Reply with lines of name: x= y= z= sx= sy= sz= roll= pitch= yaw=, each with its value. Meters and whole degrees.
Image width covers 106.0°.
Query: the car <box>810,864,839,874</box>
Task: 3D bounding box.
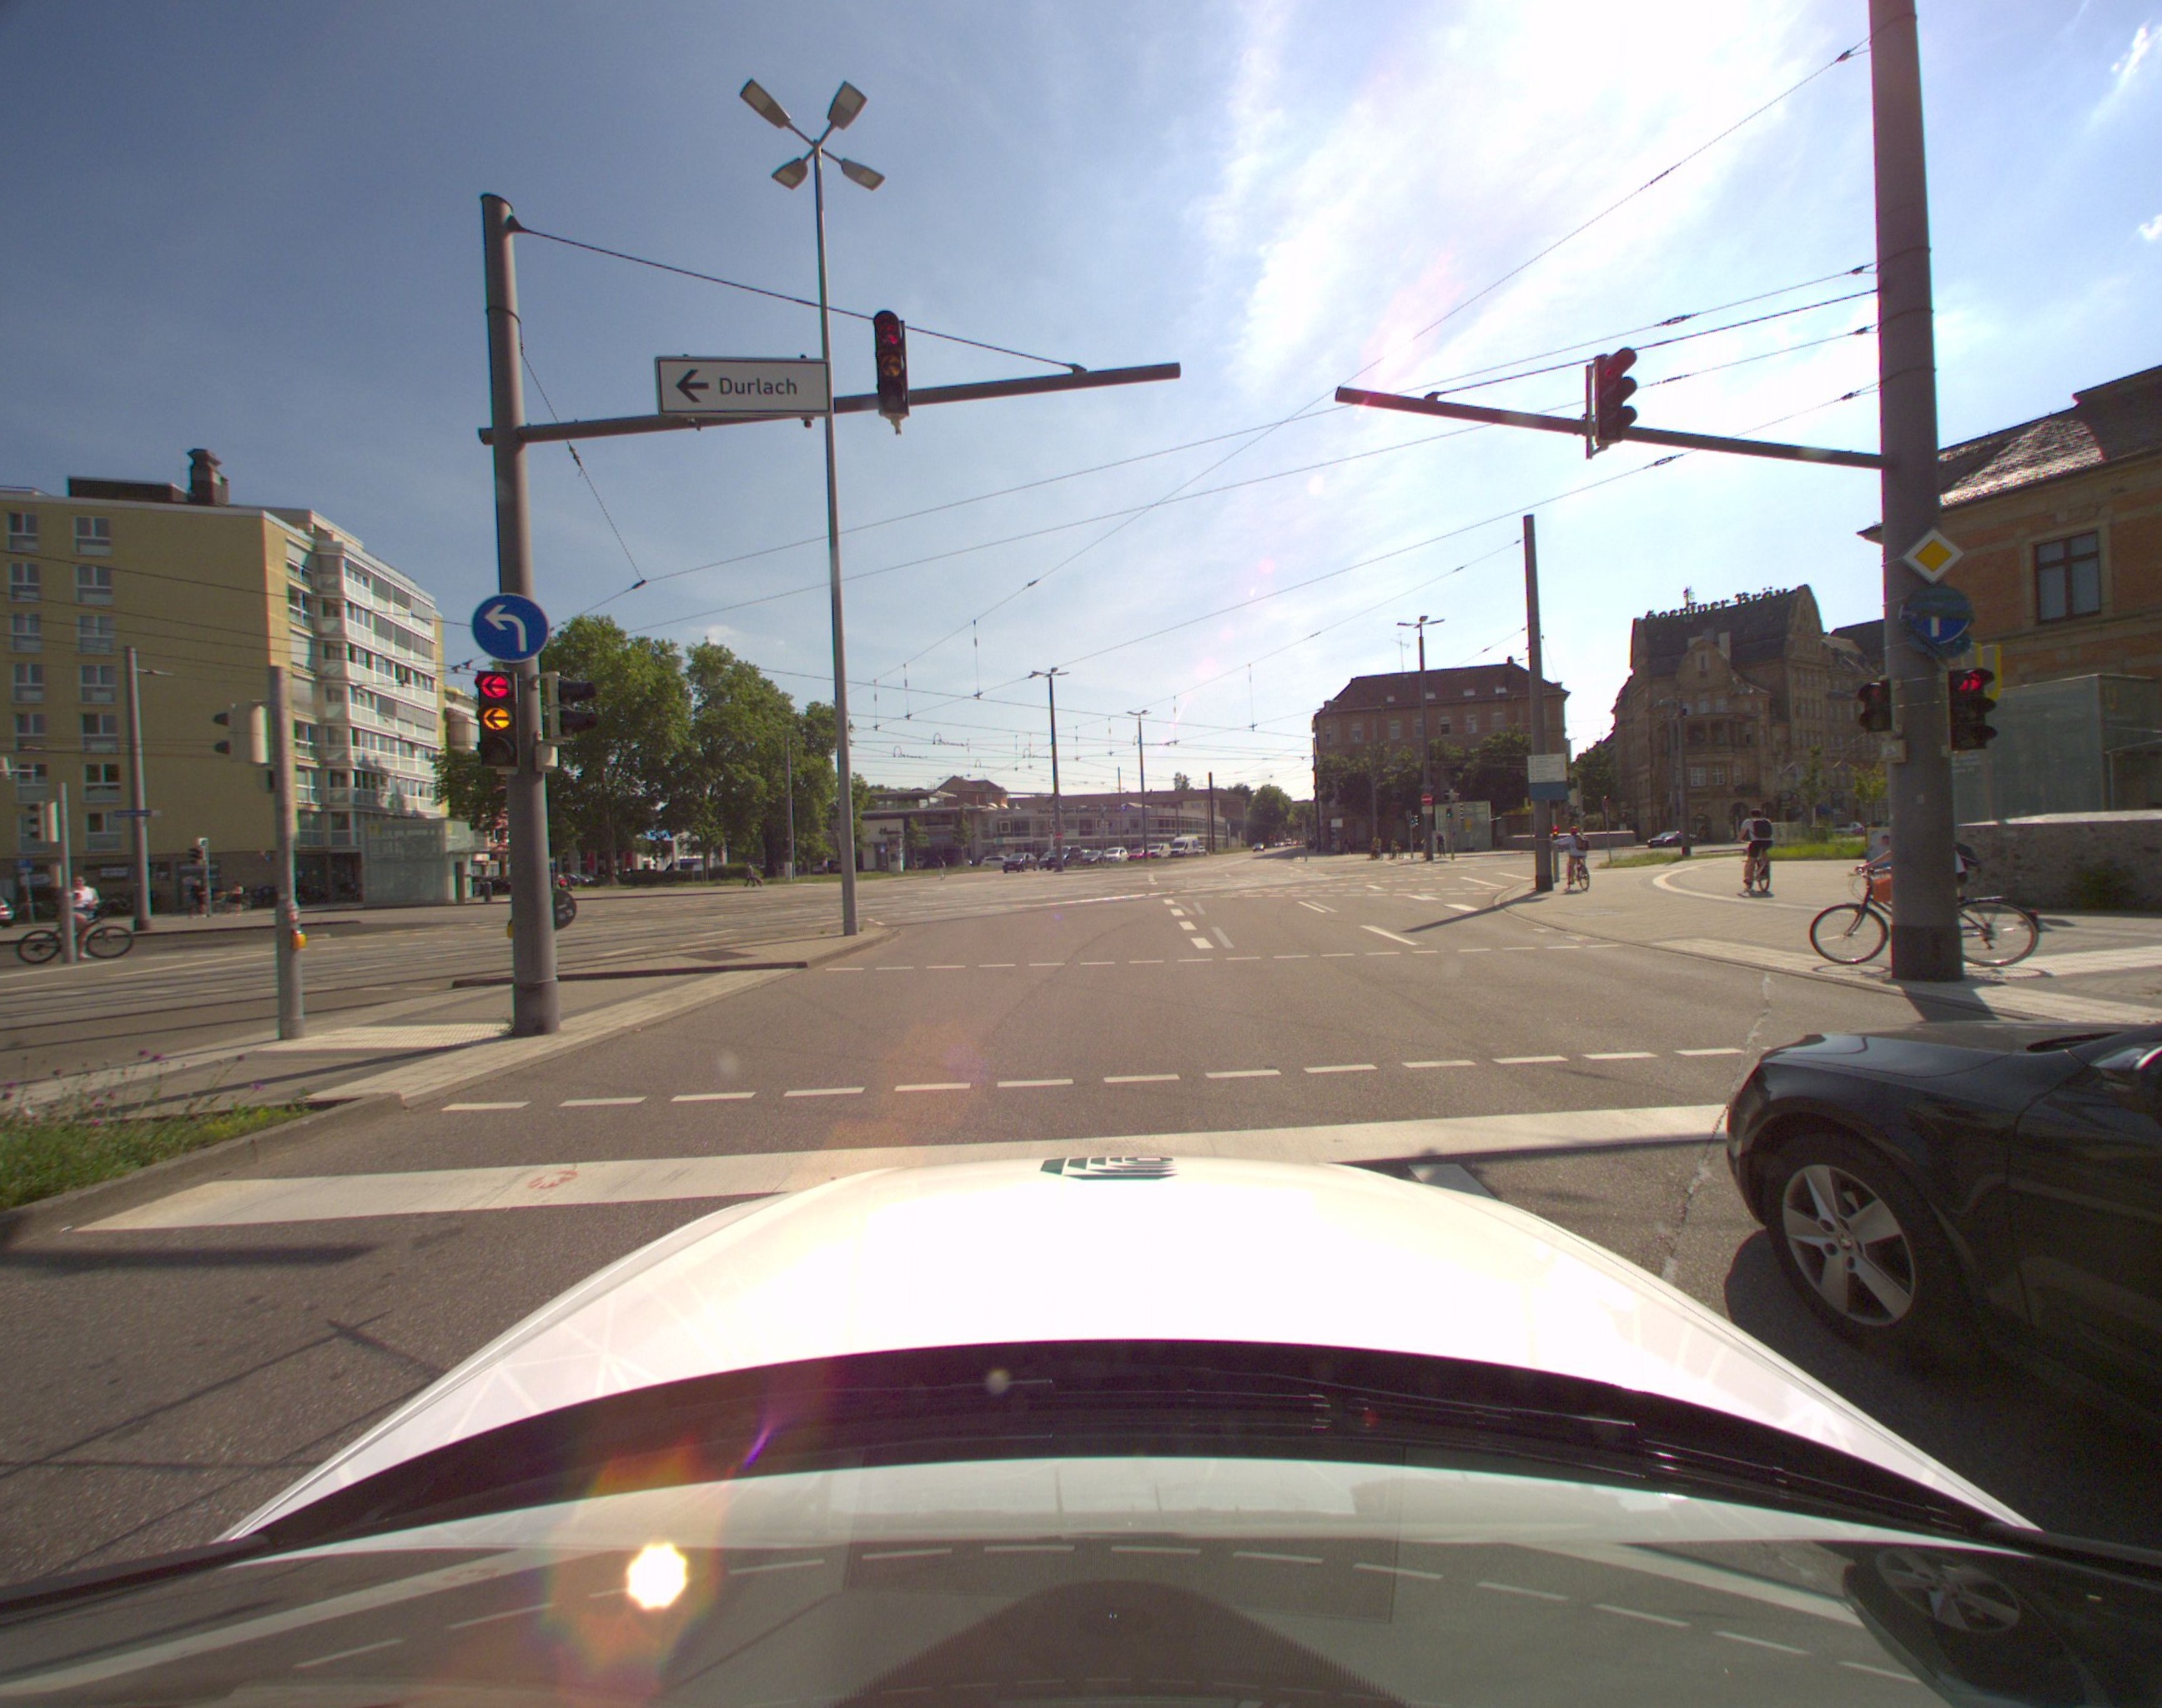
car: x=-31.984 y=1.856 z=101.788 sx=1.983 sy=1.244 sz=4.008 roll=0 pitch=0 yaw=7

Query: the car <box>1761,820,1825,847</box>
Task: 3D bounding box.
car: x=39.135 y=-1.143 z=44.761 sx=3.464 sy=1.313 sz=1.655 roll=-3 pitch=0 yaw=-32

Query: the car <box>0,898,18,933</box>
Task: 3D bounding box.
car: x=-49.265 y=2.835 z=36.505 sx=3.948 sy=1.440 sz=1.825 roll=-5 pitch=-2 yaw=35

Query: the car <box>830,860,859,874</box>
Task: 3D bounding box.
car: x=-29.623 y=1.622 z=102.128 sx=1.983 sy=1.684 sz=4.008 roll=0 pitch=-1 yaw=7

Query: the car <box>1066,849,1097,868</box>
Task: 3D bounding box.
car: x=0.087 y=0.446 z=78.292 sx=1.638 sy=1.739 sz=4.220 roll=-3 pitch=-1 yaw=19

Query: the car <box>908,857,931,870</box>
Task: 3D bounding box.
car: x=-20.024 y=1.179 z=101.062 sx=1.987 sy=1.486 sz=4.000 roll=0 pitch=0 yaw=0

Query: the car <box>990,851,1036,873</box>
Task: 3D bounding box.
car: x=-5.208 y=0.644 z=62.959 sx=1.876 sy=1.588 sz=4.230 roll=-3 pitch=-1 yaw=19

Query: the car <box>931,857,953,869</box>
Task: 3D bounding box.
car: x=-17.253 y=1.103 z=100.968 sx=1.987 sy=1.486 sz=4.000 roll=0 pitch=0 yaw=0

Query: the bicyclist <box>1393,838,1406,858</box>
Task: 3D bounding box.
bicyclist: x=23.809 y=-0.478 z=60.871 sx=0.918 sy=1.451 sz=1.258 roll=-1 pitch=1 yaw=21

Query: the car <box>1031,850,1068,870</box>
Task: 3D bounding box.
car: x=-2.696 y=0.519 z=70.661 sx=1.879 sy=1.588 sz=4.019 roll=-3 pitch=-1 yaw=19

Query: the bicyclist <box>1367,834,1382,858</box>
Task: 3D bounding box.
bicyclist: x=21.986 y=-0.579 z=61.070 sx=0.920 sy=1.820 sz=1.056 roll=-1 pitch=-1 yaw=12

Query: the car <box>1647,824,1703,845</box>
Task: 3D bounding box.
car: x=47.926 y=-1.587 z=65.724 sx=4.000 sy=1.584 sz=1.628 roll=-2 pitch=0 yaw=-20

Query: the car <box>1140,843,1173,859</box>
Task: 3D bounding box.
car: x=8.593 y=-0.326 z=92.412 sx=2.165 sy=1.680 sz=5.058 roll=-3 pitch=0 yaw=24

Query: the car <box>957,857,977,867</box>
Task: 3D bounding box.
car: x=-14.092 y=0.957 z=100.504 sx=1.824 sy=1.195 sz=4.000 roll=0 pitch=0 yaw=1

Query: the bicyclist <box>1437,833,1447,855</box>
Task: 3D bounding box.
bicyclist: x=27.007 y=-0.758 z=60.875 sx=0.661 sy=1.624 sz=0.787 roll=-1 pitch=0 yaw=24

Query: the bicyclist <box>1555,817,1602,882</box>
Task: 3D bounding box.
bicyclist: x=13.534 y=-0.123 z=22.199 sx=0.710 sy=1.669 sz=0.877 roll=-5 pitch=-1 yaw=10

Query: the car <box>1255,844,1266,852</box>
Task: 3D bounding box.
car: x=31.119 y=-1.019 z=140.965 sx=1.372 sy=1.414 sz=3.028 roll=-1 pitch=-1 yaw=21

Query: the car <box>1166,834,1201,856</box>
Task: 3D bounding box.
car: x=12.558 y=-1.029 z=99.476 sx=2.188 sy=2.575 sz=5.910 roll=-1 pitch=-1 yaw=28

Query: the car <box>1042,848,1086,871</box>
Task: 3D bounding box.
car: x=-1.281 y=0.410 z=64.794 sx=1.945 sy=1.587 sz=4.739 roll=-2 pitch=0 yaw=19

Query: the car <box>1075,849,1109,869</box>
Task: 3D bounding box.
car: x=1.000 y=0.457 z=71.294 sx=1.880 sy=1.588 sz=4.017 roll=-3 pitch=-1 yaw=16

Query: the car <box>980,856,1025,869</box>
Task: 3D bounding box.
car: x=-8.487 y=0.933 z=87.849 sx=4.551 sy=1.436 sz=1.450 roll=-1 pitch=-1 yaw=15

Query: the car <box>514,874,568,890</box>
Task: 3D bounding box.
car: x=-49.700 y=2.559 z=74.987 sx=3.729 sy=1.340 sz=1.735 roll=0 pitch=-1 yaw=-15

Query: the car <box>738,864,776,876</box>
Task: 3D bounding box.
car: x=-40.968 y=2.025 z=102.951 sx=3.973 sy=1.371 sz=2.000 roll=0 pitch=0 yaw=1

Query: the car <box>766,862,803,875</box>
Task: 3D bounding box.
car: x=-38.573 y=1.864 z=105.940 sx=3.974 sy=1.552 sz=2.000 roll=-2 pitch=0 yaw=0

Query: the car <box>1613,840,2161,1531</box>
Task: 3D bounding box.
car: x=3.046 y=0.671 z=1.038 sx=1.625 sy=1.435 sz=4.779 roll=-1 pitch=-1 yaw=0

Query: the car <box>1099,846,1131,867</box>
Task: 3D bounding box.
car: x=3.284 y=0.279 z=78.538 sx=1.879 sy=1.917 sz=4.220 roll=-3 pitch=-1 yaw=19

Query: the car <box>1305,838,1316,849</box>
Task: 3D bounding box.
car: x=46.368 y=-2.152 z=164.706 sx=2.092 sy=2.013 sz=4.017 roll=-2 pitch=0 yaw=16

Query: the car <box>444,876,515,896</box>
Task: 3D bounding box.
car: x=-46.430 y=2.436 z=62.961 sx=3.994 sy=1.440 sz=1.881 roll=0 pitch=-1 yaw=-15

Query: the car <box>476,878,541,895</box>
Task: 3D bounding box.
car: x=-47.301 y=2.649 z=67.386 sx=3.994 sy=1.270 sz=1.735 roll=0 pitch=-1 yaw=-15

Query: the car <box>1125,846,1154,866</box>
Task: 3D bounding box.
car: x=6.146 y=0.220 z=85.372 sx=1.879 sy=1.917 sz=4.220 roll=-3 pitch=-1 yaw=19

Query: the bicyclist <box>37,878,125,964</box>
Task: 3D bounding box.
bicyclist: x=-20.915 y=1.379 z=17.047 sx=0.774 sy=1.684 sz=0.749 roll=-4 pitch=0 yaw=-9
